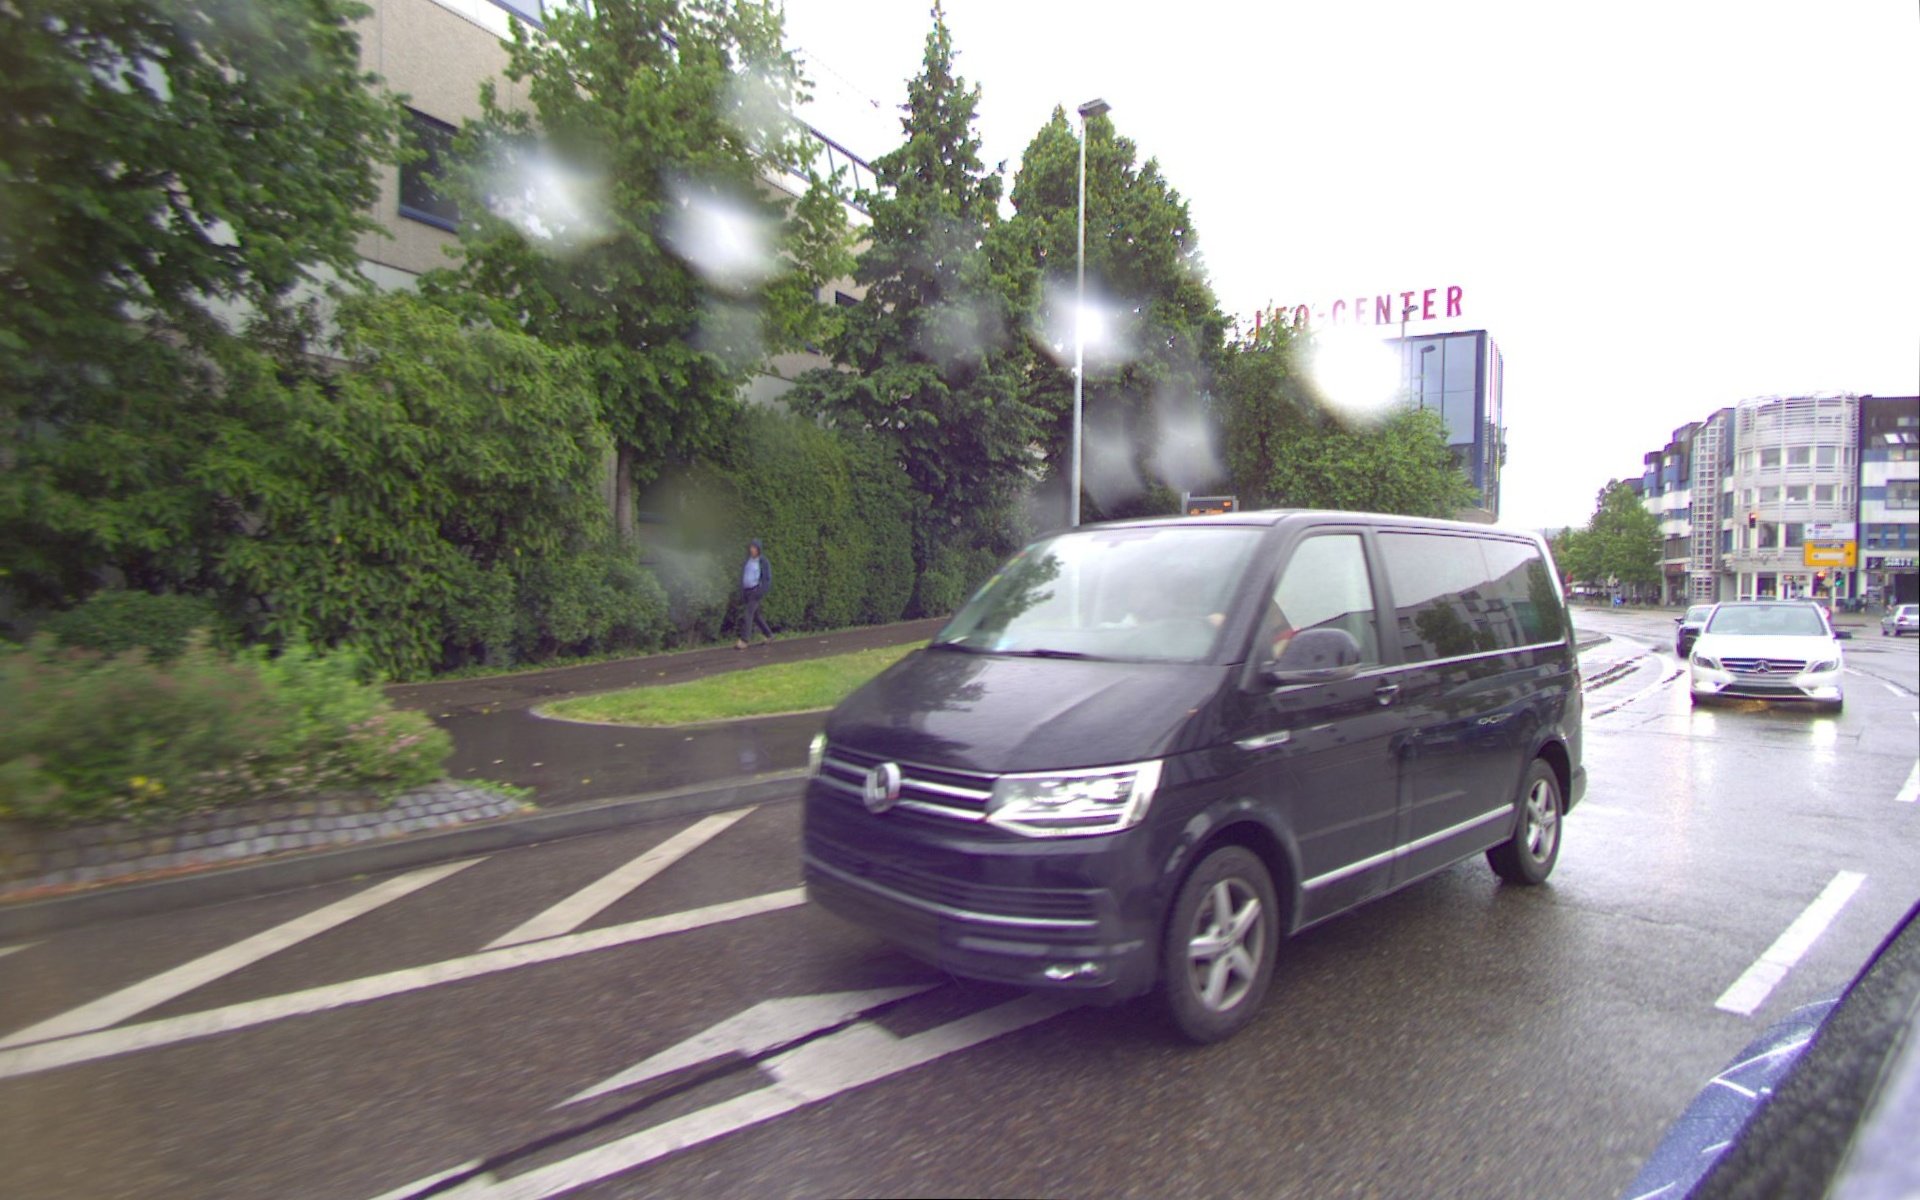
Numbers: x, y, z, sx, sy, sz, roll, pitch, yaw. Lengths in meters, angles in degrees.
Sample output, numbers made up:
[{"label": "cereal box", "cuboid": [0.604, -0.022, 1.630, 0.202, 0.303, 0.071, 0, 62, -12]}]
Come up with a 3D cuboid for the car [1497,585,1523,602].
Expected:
[{"label": "car", "cuboid": [52.325, -0.607, 96.364, 1.881, 1.545, 3.967, 0, 0, 24]}]

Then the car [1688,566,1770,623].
[{"label": "car", "cuboid": [21.769, -0.154, 28.740, 1.622, 1.509, 3.792, 1, 0, 34]}]

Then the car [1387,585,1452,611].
[{"label": "car", "cuboid": [36.573, -0.168, 80.639, 4.541, 2.039, 1.987, 0, 0, 20]}]

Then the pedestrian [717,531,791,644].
[{"label": "pedestrian", "cuboid": [-3.428, -0.220, 16.841, 0.843, 1.817, 0.788, 0, 3, 33]}]

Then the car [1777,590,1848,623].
[{"label": "car", "cuboid": [40.365, 0.308, 48.004, 1.746, 1.470, 3.961, 0, 0, 28]}]

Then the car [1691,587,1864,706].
[{"label": "car", "cuboid": [12.621, 0.613, 15.522, 1.756, 1.569, 4.260, -2, -1, 43]}]

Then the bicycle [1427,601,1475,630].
[{"label": "bicycle", "cuboid": [21.590, 0.673, 44.491, 1.795, 1.099, 0.676, 3, -4, 34]}]

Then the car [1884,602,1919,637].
[{"label": "car", "cuboid": [42.671, 0.862, 44.744, 1.689, 1.484, 4.064, 2, 1, 28]}]

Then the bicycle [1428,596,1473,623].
[{"label": "bicycle", "cuboid": [22.918, 0.434, 47.293, 1.823, 1.124, 0.686, 3, 2, 33]}]

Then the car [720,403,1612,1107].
[{"label": "car", "cuboid": [1.331, 0.392, 5.002, 4.507, 1.918, 1.999, -1, 1, -41]}]

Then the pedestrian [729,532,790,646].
[{"label": "pedestrian", "cuboid": [-3.287, -0.202, 16.635, 0.669, 1.819, 0.667, 0, 3, 31]}]
